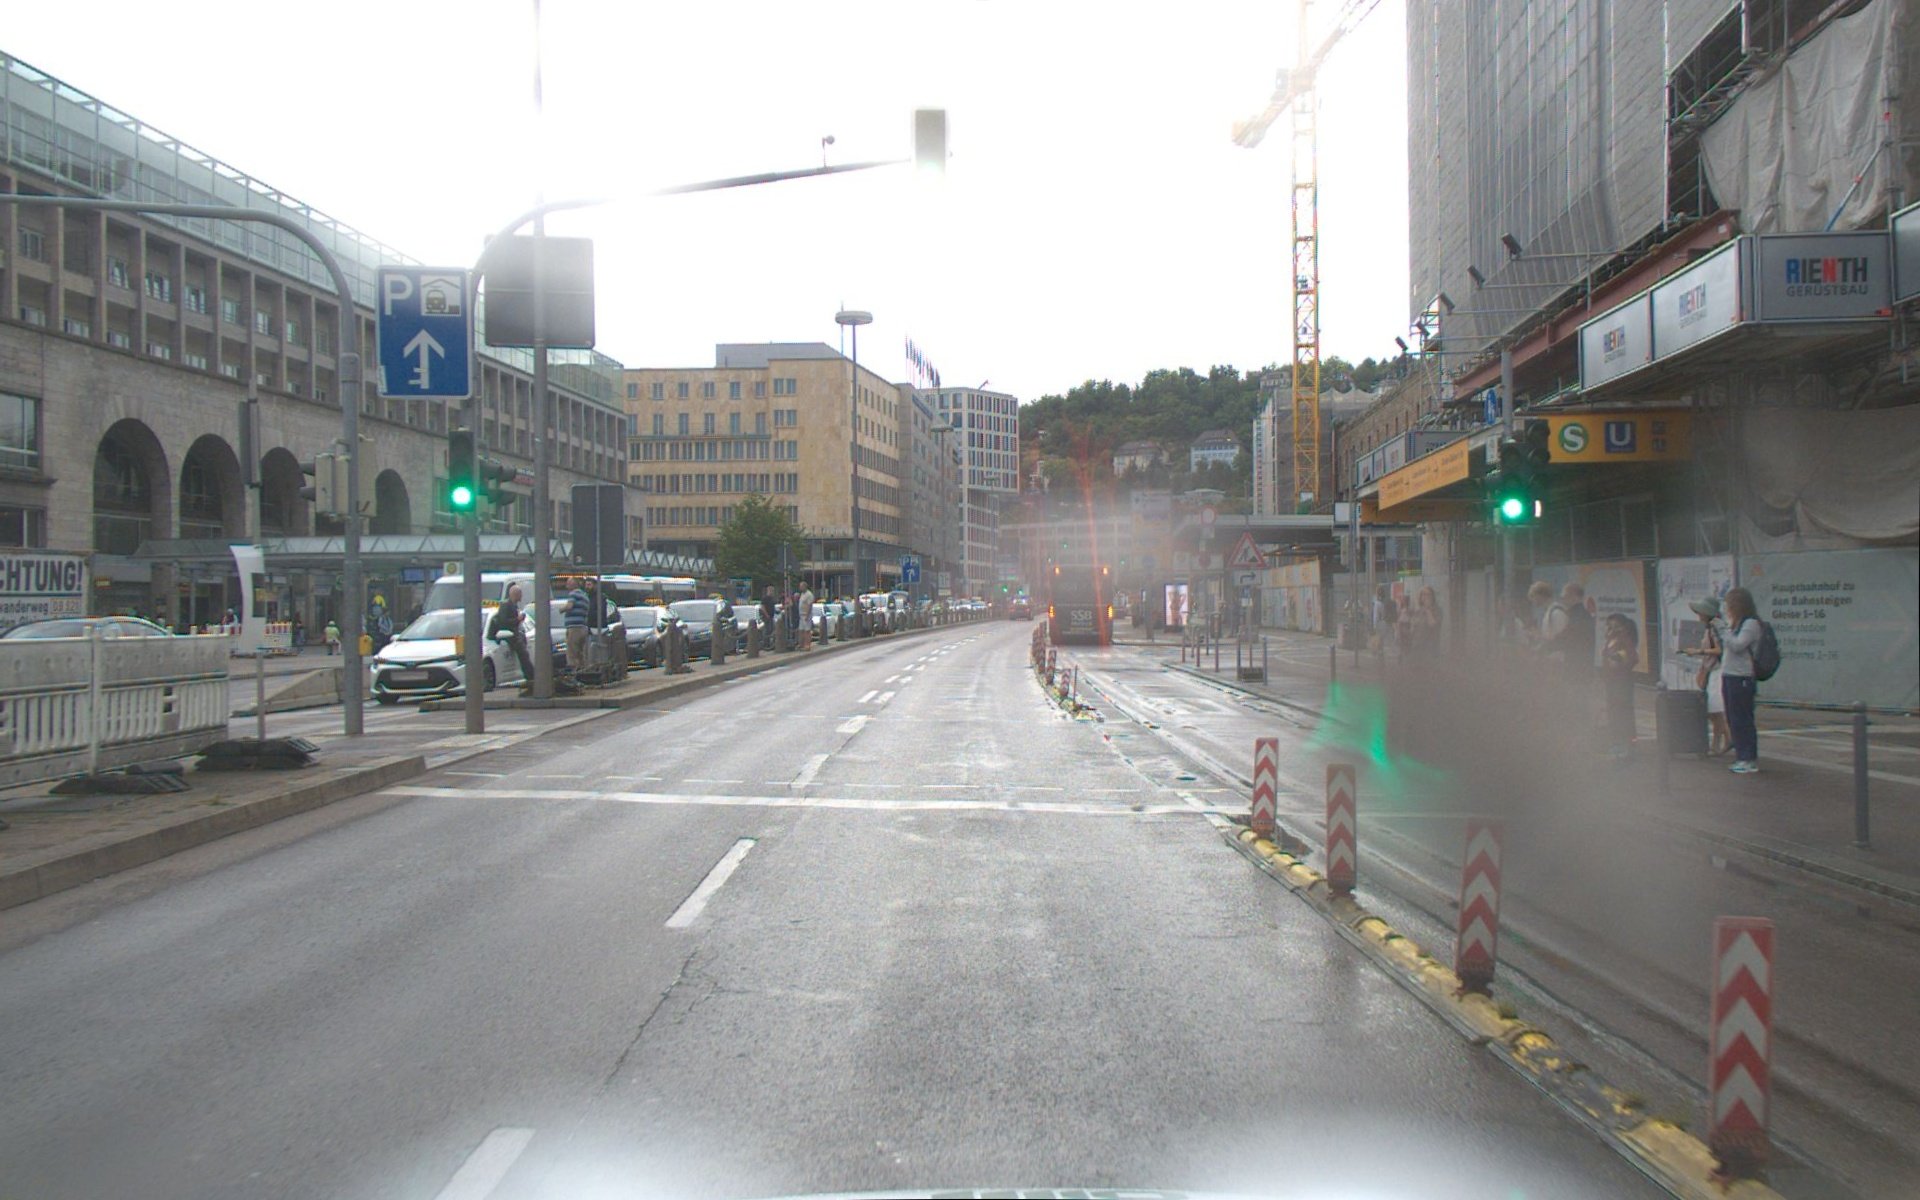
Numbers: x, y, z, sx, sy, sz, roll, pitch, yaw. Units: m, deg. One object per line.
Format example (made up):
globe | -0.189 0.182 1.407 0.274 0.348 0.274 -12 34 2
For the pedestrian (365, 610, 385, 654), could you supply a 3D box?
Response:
pedestrian | -20.554 1.119 58.111 0.576 1.533 0.621 1 0 -26

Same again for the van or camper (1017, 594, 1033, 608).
van or camper | 9.887 0.212 251.312 1.951 2.049 5.193 -1 0 7

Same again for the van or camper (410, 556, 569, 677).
van or camper | -11.016 0.366 39.177 1.952 2.558 5.371 -3 0 2

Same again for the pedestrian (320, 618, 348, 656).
pedestrian | -23.625 1.392 62.419 0.912 1.417 0.698 1 0 -26

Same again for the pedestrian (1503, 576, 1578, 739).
pedestrian | 6.576 0.638 18.767 0.546 1.782 0.712 -3 0 5

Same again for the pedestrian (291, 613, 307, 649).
pedestrian | -26.211 1.211 65.552 0.549 1.417 0.475 1 0 -26

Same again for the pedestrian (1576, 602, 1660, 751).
pedestrian | 6.785 0.777 17.071 0.546 1.474 0.712 -3 0 5

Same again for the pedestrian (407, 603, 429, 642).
pedestrian | -20.024 0.835 61.089 0.696 1.417 0.698 1 0 -26

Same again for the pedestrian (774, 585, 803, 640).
pedestrian | -5.229 0.369 50.481 0.707 1.634 0.996 1 0 3

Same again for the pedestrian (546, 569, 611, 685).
pedestrian | -6.106 0.421 26.498 0.549 1.806 0.749 -3 0 37

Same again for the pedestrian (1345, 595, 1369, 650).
pedestrian | 14.067 0.797 58.622 0.631 1.880 0.659 -3 0 3

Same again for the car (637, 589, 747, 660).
car | -7.113 0.640 44.334 1.889 1.720 4.684 -2 -1 3

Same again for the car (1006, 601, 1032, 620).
car | 5.002 0.870 140.313 1.951 1.579 4.002 -1 0 5

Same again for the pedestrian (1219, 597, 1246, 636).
pedestrian | 11.579 0.706 70.253 0.890 1.664 0.826 -1 0 31

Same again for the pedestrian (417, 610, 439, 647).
pedestrian | -20.613 1.091 64.060 0.696 1.417 0.698 1 0 -26

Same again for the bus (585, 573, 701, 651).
bus | -15.066 0.540 79.536 2.817 3.520 10.579 0 0 4

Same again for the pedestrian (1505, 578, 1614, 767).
pedestrian | 5.795 0.681 16.009 0.576 1.771 0.810 0 0 -39

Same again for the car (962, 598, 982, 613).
car | 1.374 0.653 192.598 1.921 1.591 4.838 -3 0 4

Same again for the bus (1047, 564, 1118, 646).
bus | 5.052 0.238 68.323 2.697 3.122 9.084 1 0 4

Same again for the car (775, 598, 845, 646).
car | -5.767 0.841 64.064 1.935 1.688 5.194 -2 -1 3

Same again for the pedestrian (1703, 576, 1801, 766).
pedestrian | 7.266 0.639 15.193 0.546 1.679 0.615 -3 0 4

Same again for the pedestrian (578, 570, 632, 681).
pedestrian | -6.019 0.429 28.061 0.767 1.806 0.605 -3 0 -8

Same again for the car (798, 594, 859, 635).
car | -5.514 0.618 69.854 1.889 1.604 5.054 -2 -1 3

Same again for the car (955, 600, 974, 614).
car | 0.586 0.880 201.684 1.921 1.591 4.838 -3 0 4

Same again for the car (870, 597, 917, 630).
car | -3.674 0.719 92.141 1.951 1.752 4.785 -1 0 5

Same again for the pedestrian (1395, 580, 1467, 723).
pedestrian | 6.121 0.659 21.529 0.548 1.789 0.750 -3 0 -10

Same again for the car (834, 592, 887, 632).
car | -4.828 0.581 80.986 1.889 1.838 4.585 -2 -1 5

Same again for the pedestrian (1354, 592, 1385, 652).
pedestrian | 11.102 0.593 44.809 0.637 1.566 0.665 -3 0 4

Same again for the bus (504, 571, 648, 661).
bus | -15.734 0.611 68.791 2.817 3.435 10.579 0 0 4

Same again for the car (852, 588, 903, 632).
car | -4.282 0.502 86.804 1.951 2.217 5.547 -1 0 5

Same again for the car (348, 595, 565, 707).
car | -8.133 0.758 27.234 1.973 1.649 4.843 -1 0 1

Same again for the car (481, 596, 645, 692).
car | -7.823 0.829 33.057 1.889 1.720 4.684 -2 -1 3

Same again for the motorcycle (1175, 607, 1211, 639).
motorcycle | 8.812 0.873 62.527 0.576 1.186 1.607 0 -1 42

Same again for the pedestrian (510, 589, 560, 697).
pedestrian | -6.984 0.694 27.190 0.637 1.741 0.593 1 0 2

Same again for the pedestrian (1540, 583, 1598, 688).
pedestrian | 9.981 0.564 27.130 0.538 1.660 0.996 -3 0 3

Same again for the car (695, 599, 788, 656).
car | -6.720 0.831 51.422 1.889 1.604 5.263 -2 -1 3

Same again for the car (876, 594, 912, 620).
car | -4.165 0.432 104.639 1.952 1.579 4.001 -1 0 1

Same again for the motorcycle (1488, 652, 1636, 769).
motorcycle | 5.807 1.044 15.996 0.580 1.039 1.222 0 0 -39

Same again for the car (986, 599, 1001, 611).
car | 4.887 0.765 243.698 1.921 1.591 4.838 -3 0 4

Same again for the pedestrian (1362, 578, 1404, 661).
pedestrian | 9.791 0.447 38.340 0.708 1.880 0.810 -3 0 3

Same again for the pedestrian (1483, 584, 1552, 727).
pedestrian | 6.741 0.663 20.021 0.546 1.669 0.752 -3 0 5

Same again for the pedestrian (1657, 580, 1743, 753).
pedestrian | 7.426 0.654 16.610 0.552 1.679 0.615 -3 0 8

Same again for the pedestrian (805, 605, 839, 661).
pedestrian | -4.450 1.053 53.416 1.028 1.799 0.617 -1 -1 3

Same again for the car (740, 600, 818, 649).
car | -6.275 0.840 57.929 1.889 1.604 5.014 -2 -1 3

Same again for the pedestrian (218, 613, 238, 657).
pedestrian | -23.445 1.119 52.967 0.549 1.417 0.475 1 0 -26

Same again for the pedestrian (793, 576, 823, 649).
pedestrian | -4.289 0.339 46.658 0.707 2.043 0.773 1 0 3

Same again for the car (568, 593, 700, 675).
car | -7.496 0.762 38.503 1.889 1.720 4.684 -2 -1 3

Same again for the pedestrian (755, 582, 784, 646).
pedestrian | -5.365 0.403 46.693 0.684 1.785 0.712 0 0 3

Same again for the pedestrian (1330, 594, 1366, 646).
pedestrian | 15.396 0.785 65.563 1.048 2.015 1.238 1 0 31

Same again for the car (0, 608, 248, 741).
car | -11.833 0.969 23.311 1.776 1.639 4.044 1 0 1
